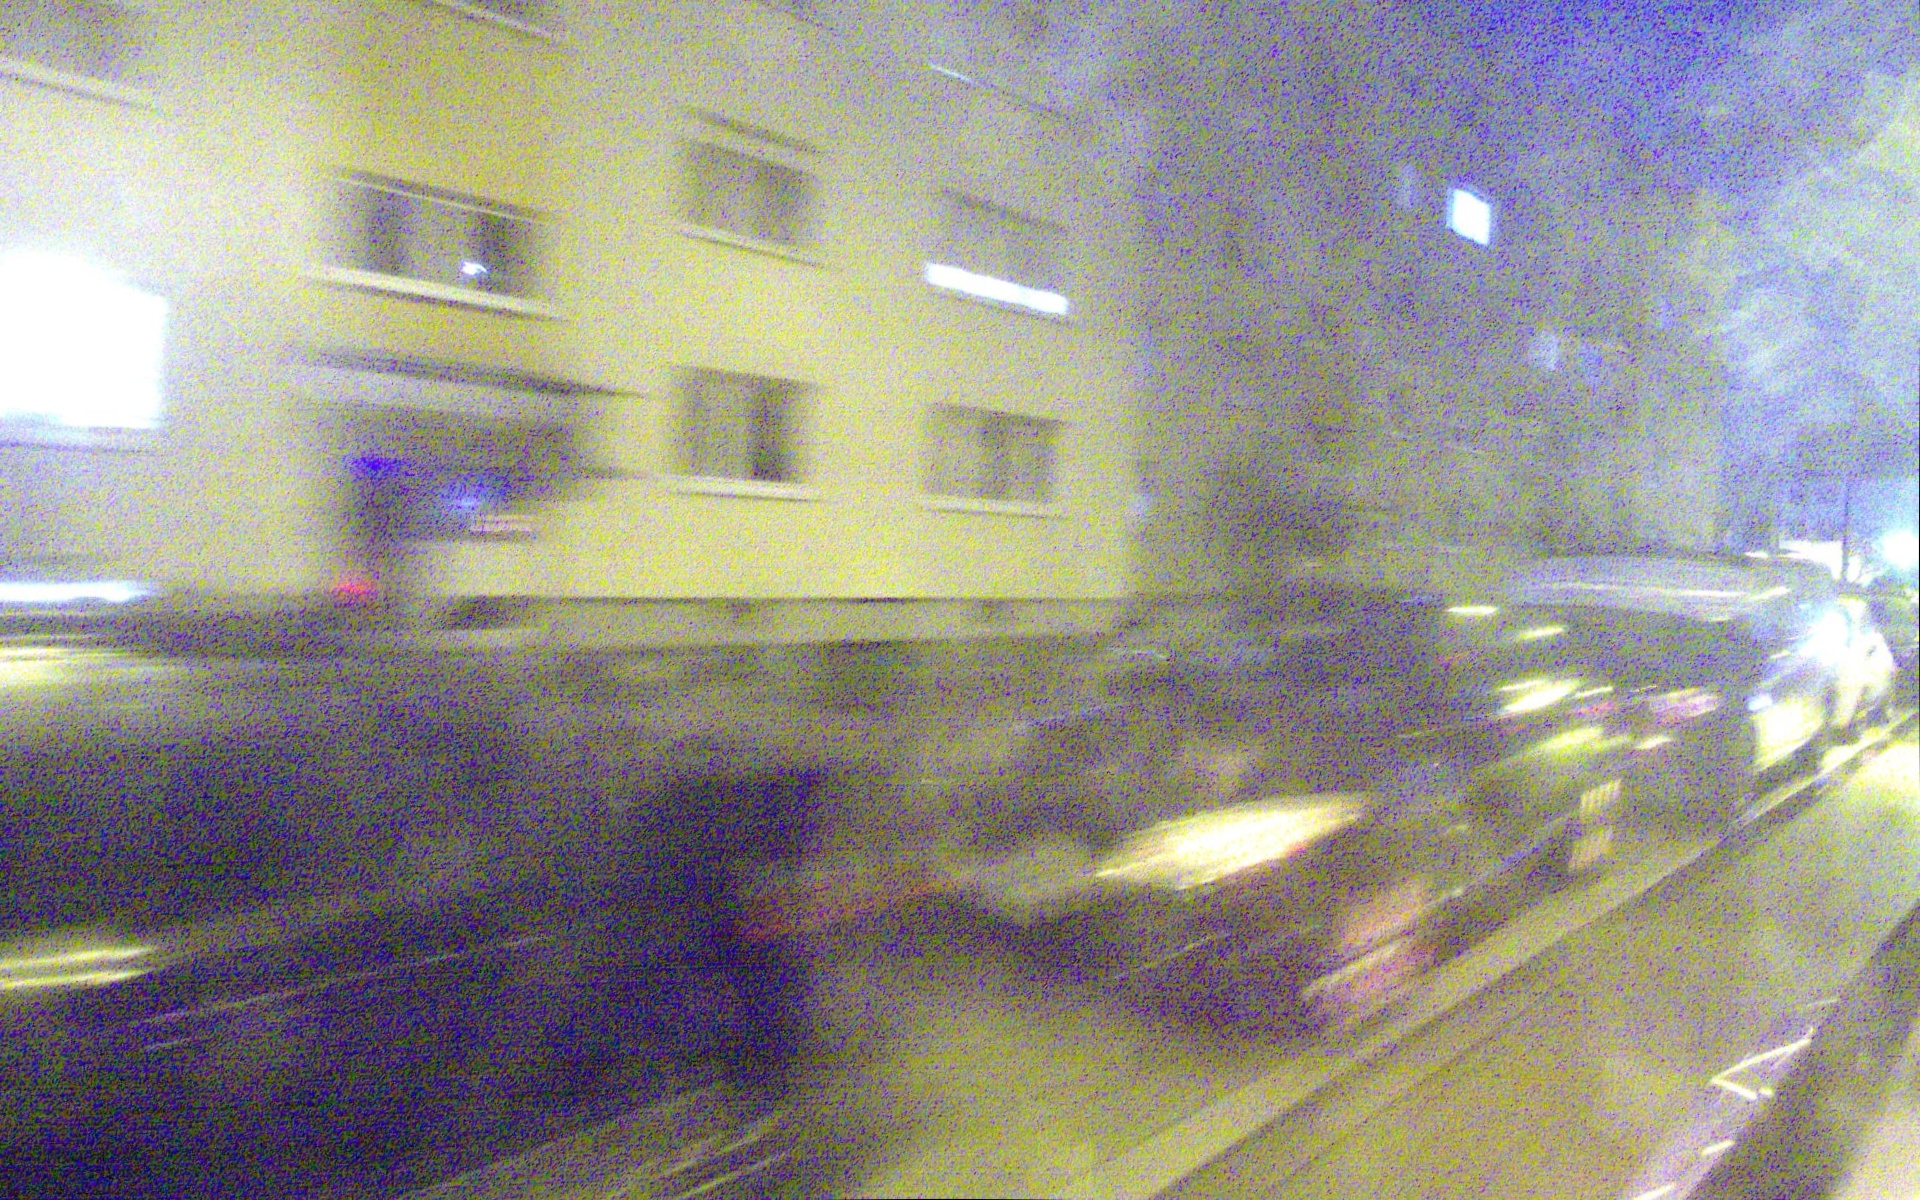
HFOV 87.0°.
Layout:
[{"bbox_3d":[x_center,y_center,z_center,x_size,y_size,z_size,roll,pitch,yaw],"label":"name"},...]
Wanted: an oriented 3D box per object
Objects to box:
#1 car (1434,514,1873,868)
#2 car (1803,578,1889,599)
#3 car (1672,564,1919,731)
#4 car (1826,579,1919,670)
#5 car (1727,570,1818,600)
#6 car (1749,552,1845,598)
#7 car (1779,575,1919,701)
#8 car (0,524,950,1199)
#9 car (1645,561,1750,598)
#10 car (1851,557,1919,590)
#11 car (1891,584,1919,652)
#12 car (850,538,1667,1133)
[{"bbox_3d":[5.971,0.449,8.293,5.757,1.974,1.797,0,3,-44],"label":"car"},{"bbox_3d":[60.116,-0.792,68.741,1.767,1.284,4.030,1,3,-34],"label":"car"},{"bbox_3d":[9.887,0.433,11.835,3.886,1.566,1.797,0,3,-44],"label":"car"},{"bbox_3d":[18.083,0.430,19.441,3.886,1.566,1.797,0,3,-44],"label":"car"},{"bbox_3d":[44.959,-0.838,56.060,1.637,1.474,3.662,0,3,-40],"label":"car"},{"bbox_3d":[50.366,-1.526,60.993,1.767,2.650,4.030,1,3,-34],"label":"car"},{"bbox_3d":[13.877,0.483,15.191,4.669,1.599,1.870,0,3,-44],"label":"car"},{"bbox_3d":[-2.181,0.598,1.410,4.207,1.465,1.798,0,3,-43],"label":"car"},{"bbox_3d":[38.217,-1.101,52.520,1.635,1.727,4.094,0,3,-37],"label":"car"},{"bbox_3d":[65.085,-1.860,70.582,1.767,2.195,4.030,1,3,-34],"label":"car"},{"bbox_3d":[23.136,0.433,23.624,3.886,1.491,1.797,0,3,-44],"label":"car"},{"bbox_3d":[1.669,0.559,4.650,4.060,1.510,1.797,0,3,-44],"label":"car"}]
